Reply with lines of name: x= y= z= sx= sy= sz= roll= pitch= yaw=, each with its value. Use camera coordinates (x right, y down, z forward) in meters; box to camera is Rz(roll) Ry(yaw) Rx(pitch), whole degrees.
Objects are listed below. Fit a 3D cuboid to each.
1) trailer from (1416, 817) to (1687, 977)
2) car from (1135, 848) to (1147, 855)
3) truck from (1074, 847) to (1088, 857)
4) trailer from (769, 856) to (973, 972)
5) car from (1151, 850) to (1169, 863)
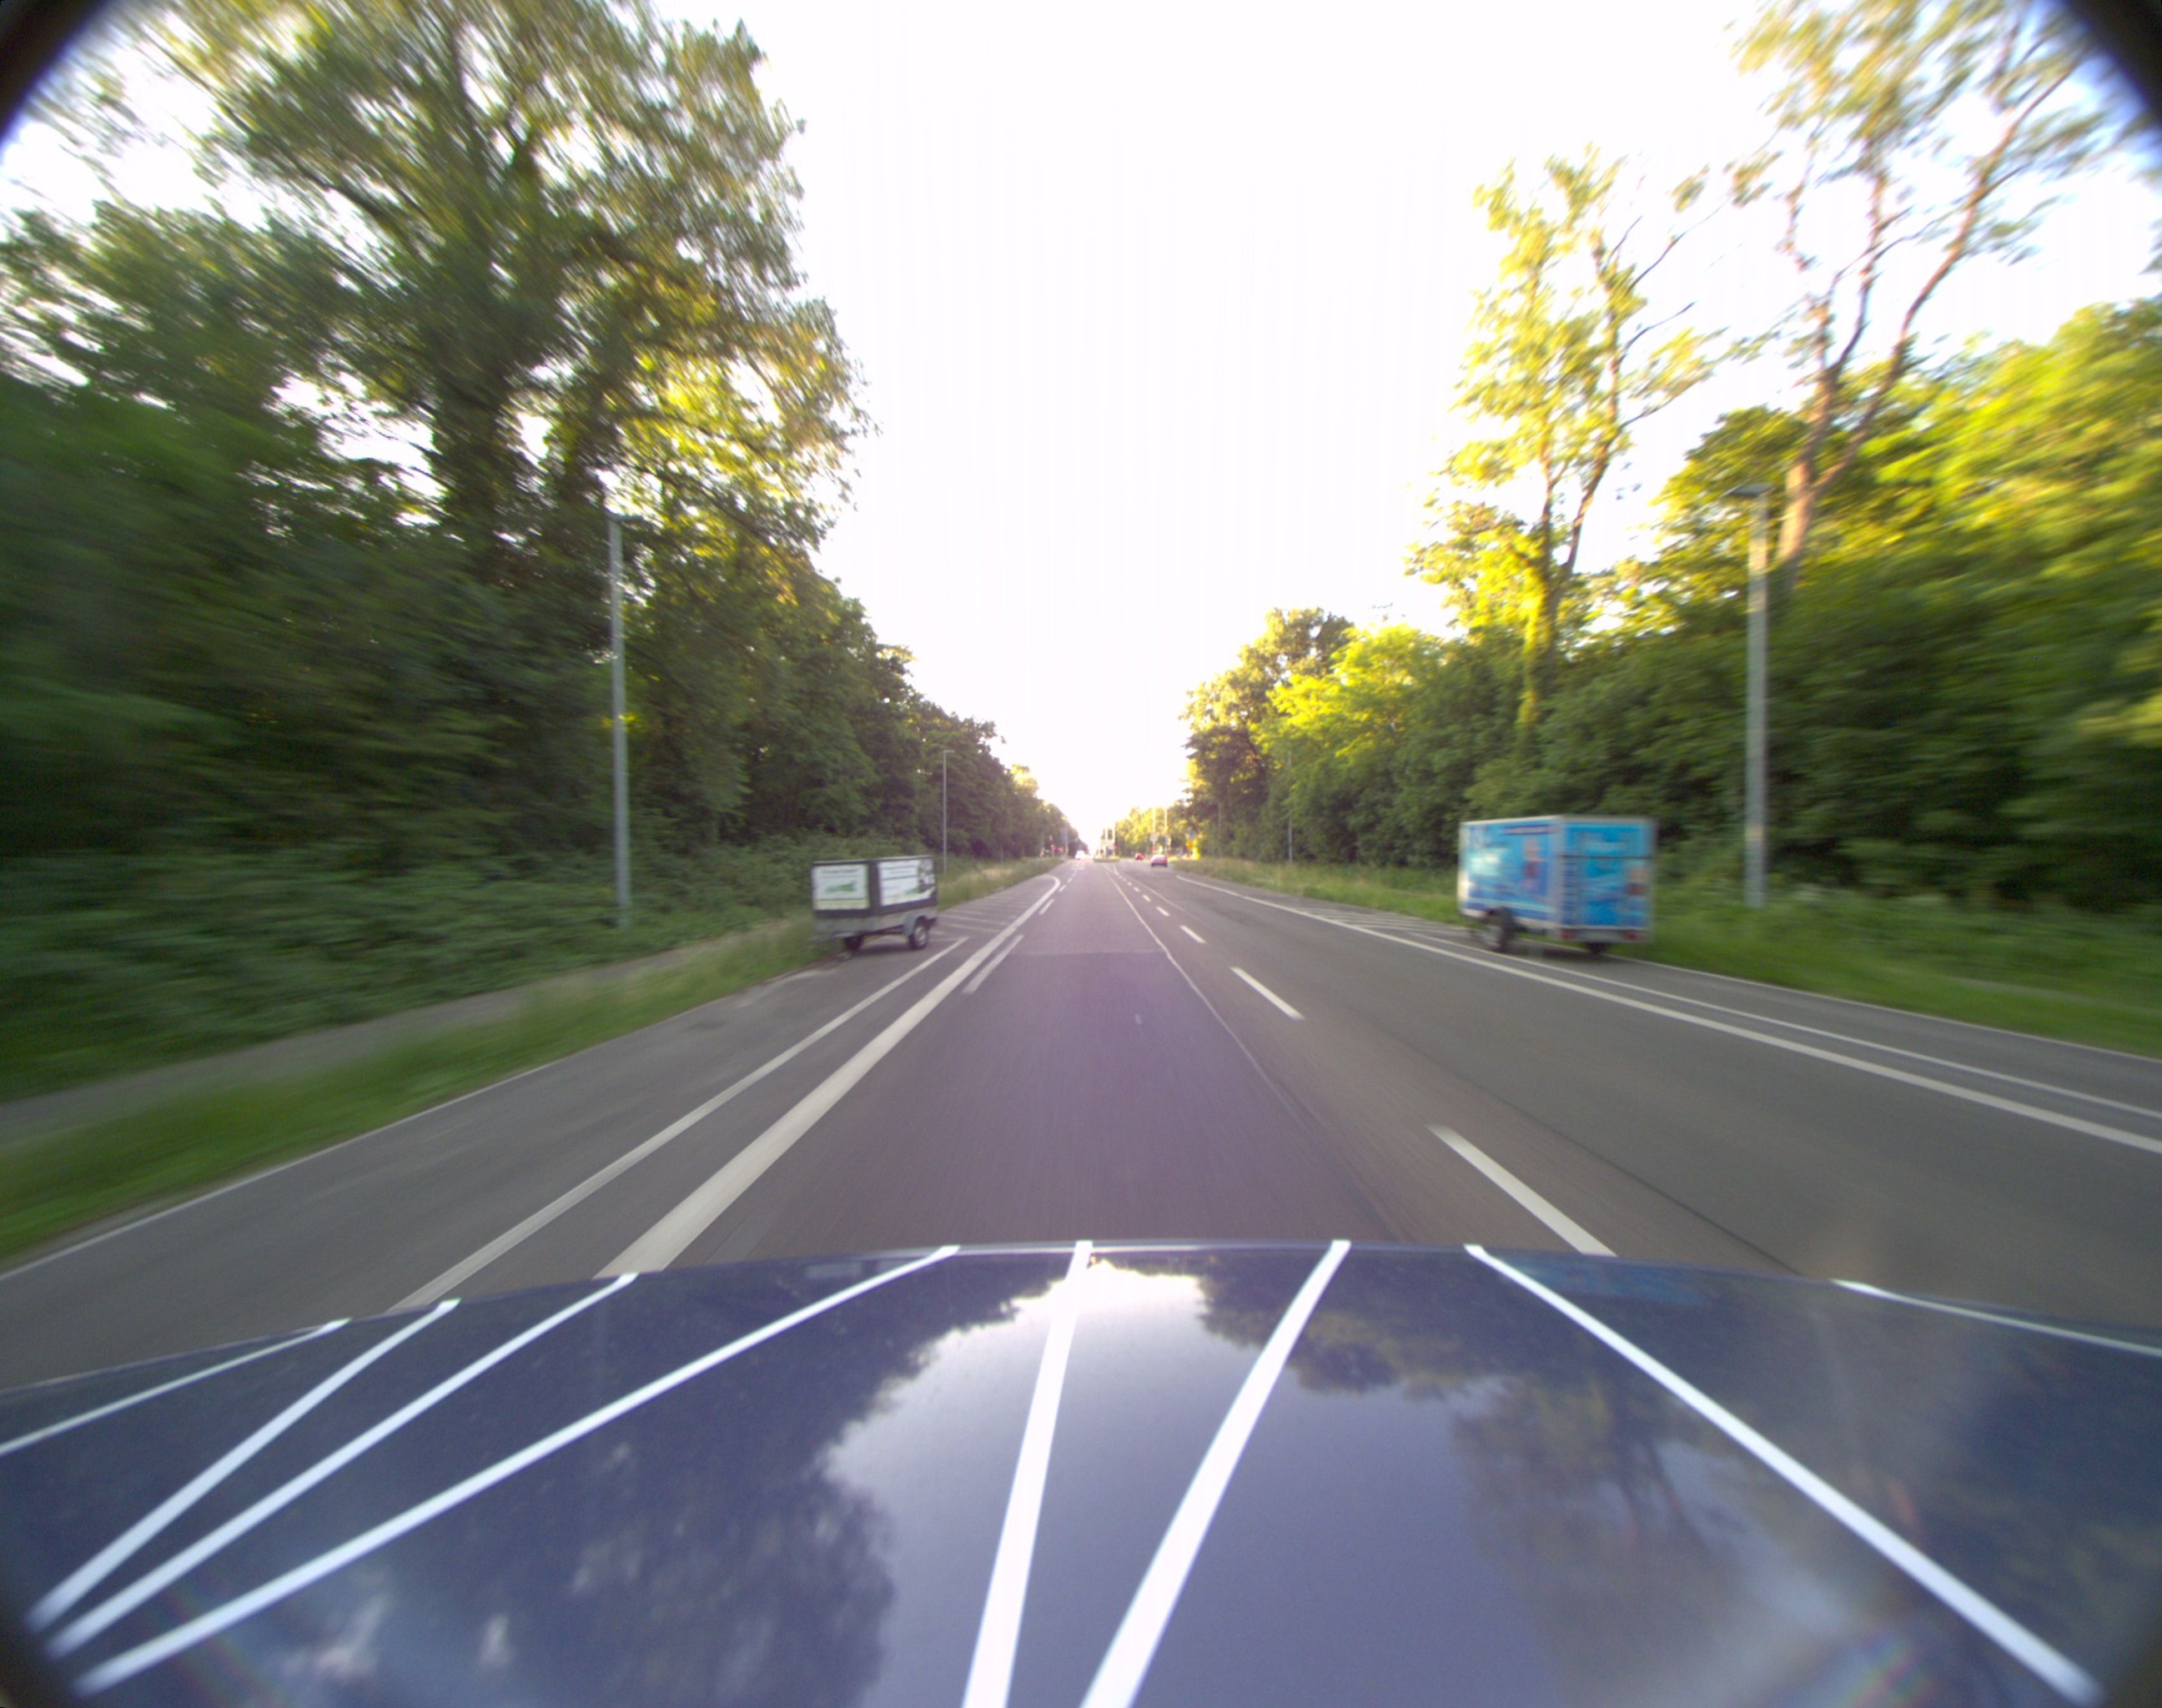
trailer: x=7.299 y=0.579 z=12.380 sx=1.822 sy=2.155 sz=4.142 roll=0 pitch=0 yaw=0
car: x=14.134 y=-0.537 z=178.225 sx=1.821 sy=1.525 sz=4.460 roll=2 pitch=1 yaw=15
truck: x=0.015 y=-0.583 z=215.683 sx=2.600 sy=2.543 sz=6.028 roll=-1 pitch=2 yaw=15
trailer: x=-3.417 y=0.883 z=13.116 sx=1.457 sy=1.652 sz=3.782 roll=0 pitch=1 yaw=20
car: x=9.913 y=0.333 z=95.778 sx=2.068 sy=1.427 sz=4.467 roll=1 pitch=-1 yaw=3
